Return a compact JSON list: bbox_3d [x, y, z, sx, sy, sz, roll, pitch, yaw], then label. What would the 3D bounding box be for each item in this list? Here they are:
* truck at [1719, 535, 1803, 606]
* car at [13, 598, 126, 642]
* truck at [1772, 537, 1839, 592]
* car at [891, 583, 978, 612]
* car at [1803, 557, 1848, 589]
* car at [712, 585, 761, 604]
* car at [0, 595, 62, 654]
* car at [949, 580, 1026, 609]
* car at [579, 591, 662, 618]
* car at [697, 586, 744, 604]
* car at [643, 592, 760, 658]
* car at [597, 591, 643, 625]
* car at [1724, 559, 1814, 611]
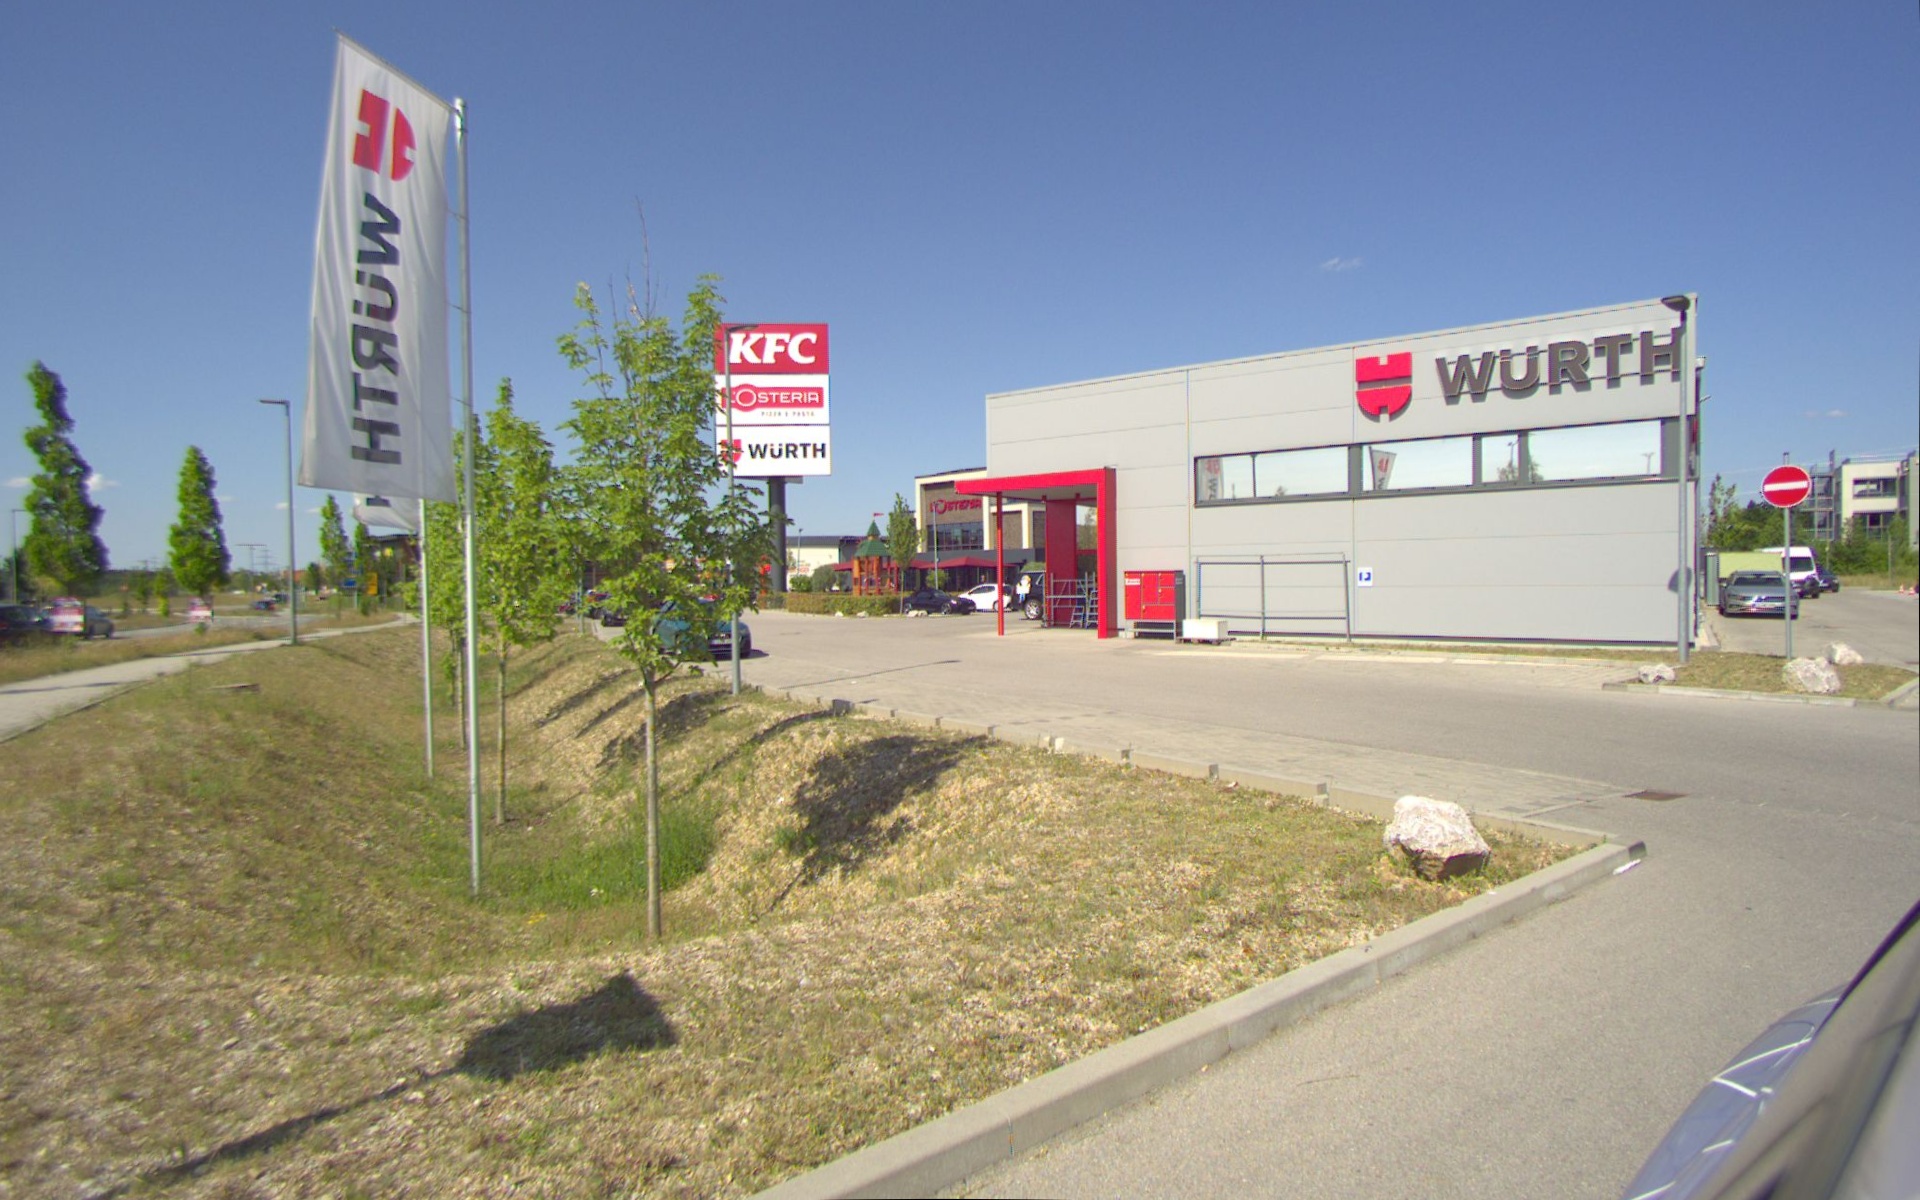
[{"bbox_3d":[29.438,-1.078,37.345,2.110,2.406,5.816,-1,1,36],"label":"truck"},{"bbox_3d":[-36.952,0.786,42.162,1.906,1.570,4.771,-2,2,-21],"label":"car"},{"bbox_3d":[40.328,-1.685,48.401,1.987,2.406,5.816,-1,1,36],"label":"truck"},{"bbox_3d":[-1.292,-0.120,50.646,4.127,1.354,1.808,-1,1,36],"label":"car"},{"bbox_3d":[47.688,-1.526,55.808,1.710,1.638,3.946,-1,2,38],"label":"car"},{"bbox_3d":[-20.876,-0.531,94.594,4.029,1.585,1.874,-2,1,-43],"label":"car"},{"bbox_3d":[-27.803,0.695,29.022,1.875,1.570,4.396,-3,2,-25],"label":"car"},{"bbox_3d":[1.481,-0.300,54.562,3.896,1.493,1.777,0,1,41],"label":"car"},{"bbox_3d":[-20.407,0.246,60.865,4.442,1.477,2.003,-2,1,-27],"label":"car"},{"bbox_3d":[-22.824,-0.476,96.495,4.029,1.585,1.874,-2,1,-43],"label":"car"},{"bbox_3d":[-6.554,0.552,25.380,1.809,1.467,4.231,-2,1,-29],"label":"car"},{"bbox_3d":[-16.087,0.323,47.755,1.839,1.484,4.373,-2,1,-21],"label":"car"},{"bbox_3d":[25.535,-0.486,32.050,1.866,1.527,3.952,-1,1,34],"label":"car"}]
